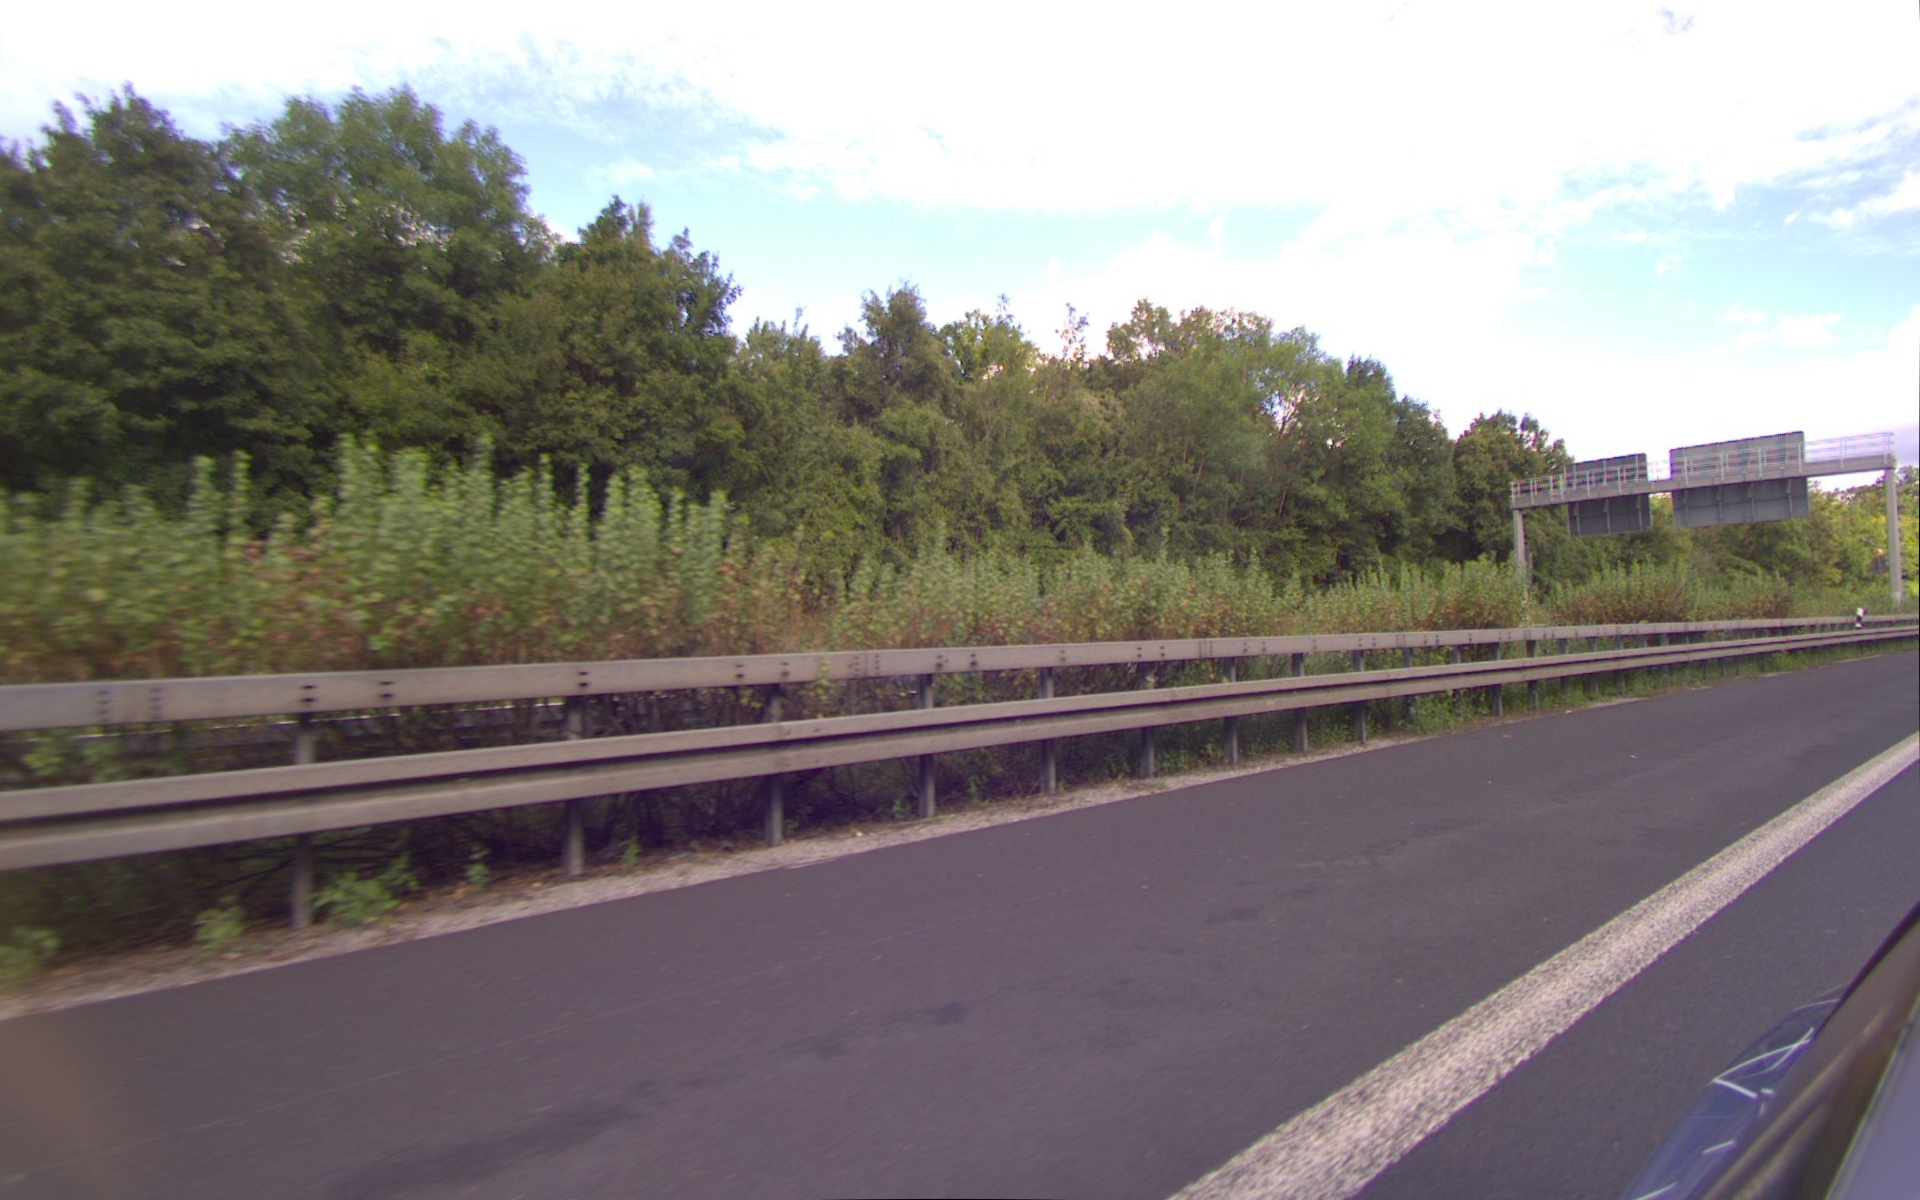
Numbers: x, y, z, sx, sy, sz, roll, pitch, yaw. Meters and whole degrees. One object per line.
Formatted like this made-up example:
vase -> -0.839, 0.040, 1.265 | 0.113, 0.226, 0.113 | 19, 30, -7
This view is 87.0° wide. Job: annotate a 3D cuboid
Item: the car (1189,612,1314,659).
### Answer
car -> 10.527, 1.229, 36.413 | 4.779, 1.529, 1.772 | 0, 0, -36
